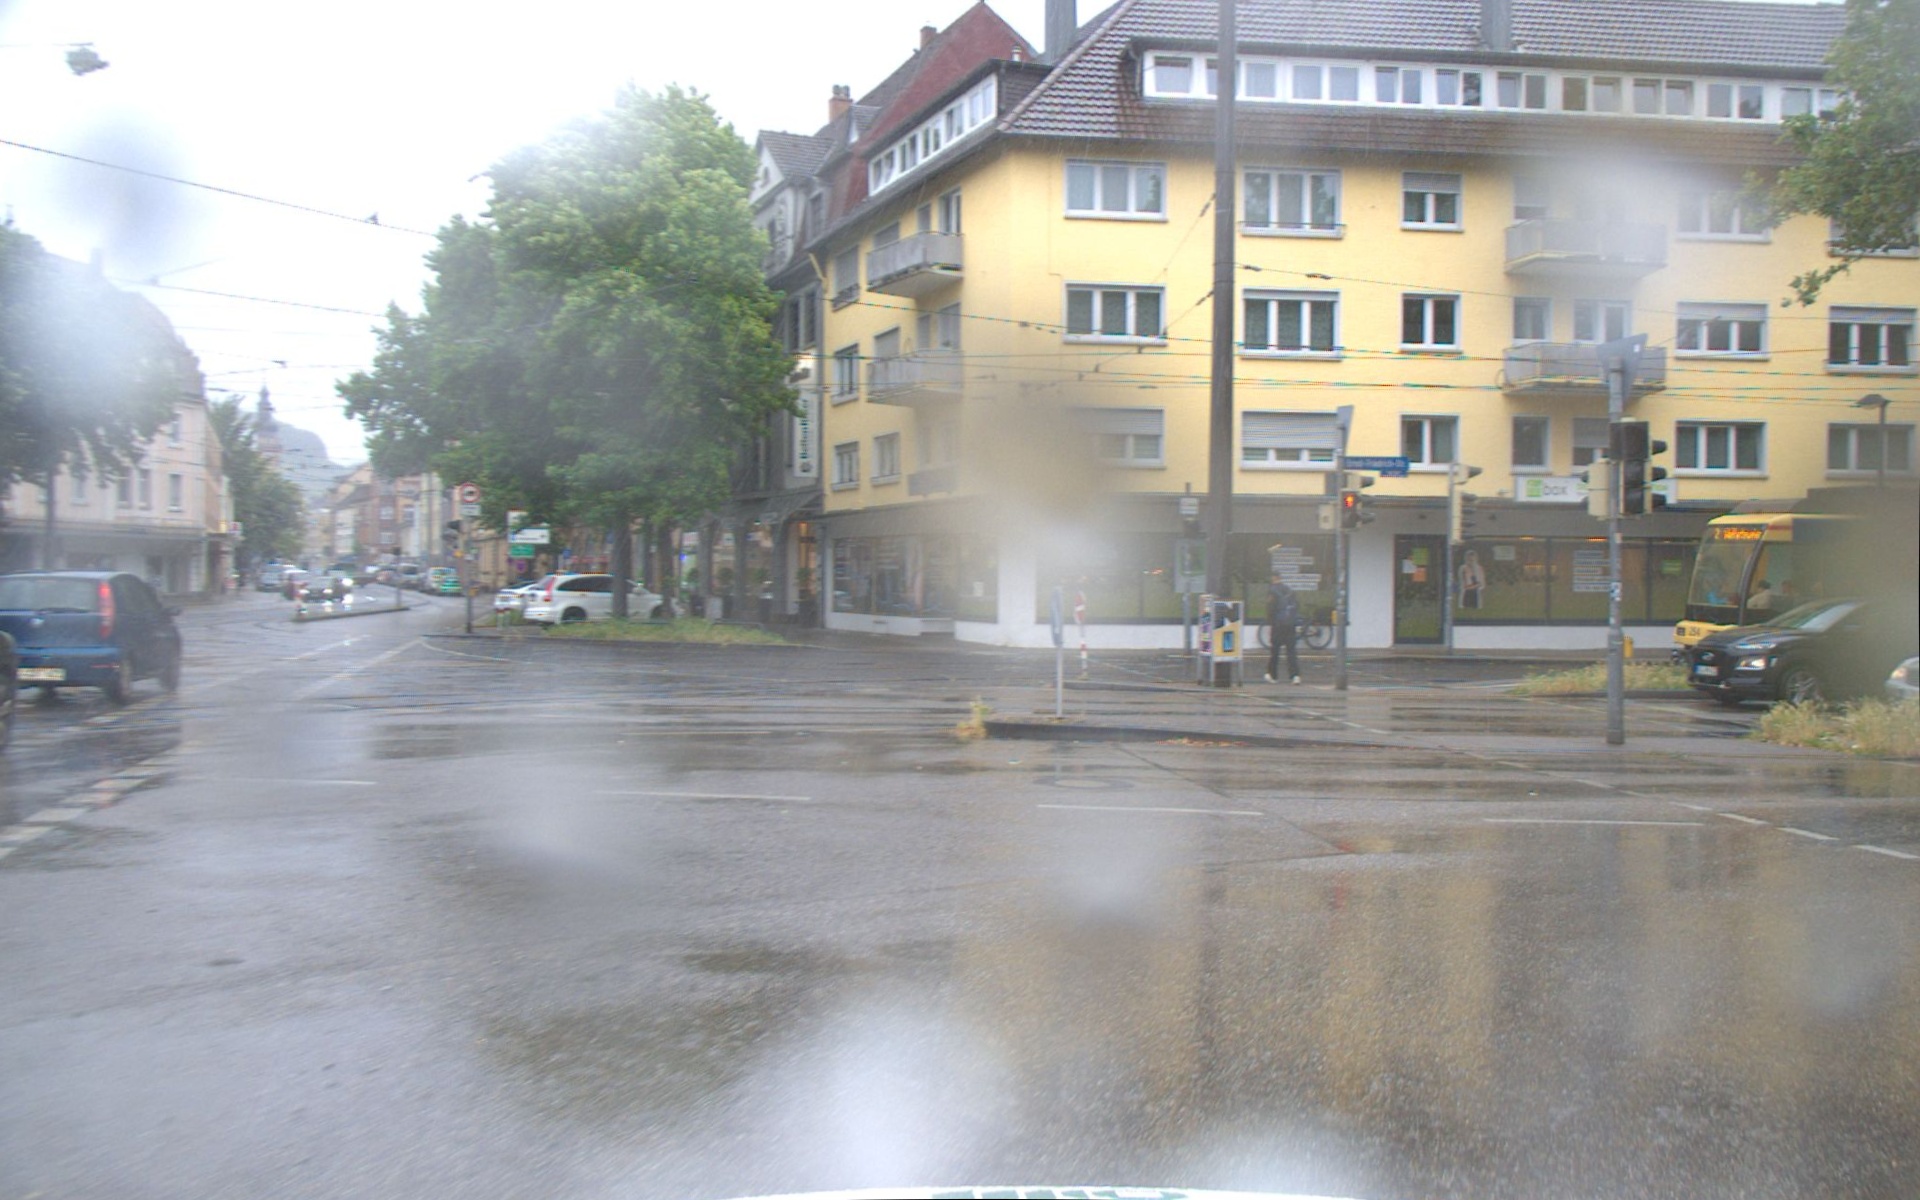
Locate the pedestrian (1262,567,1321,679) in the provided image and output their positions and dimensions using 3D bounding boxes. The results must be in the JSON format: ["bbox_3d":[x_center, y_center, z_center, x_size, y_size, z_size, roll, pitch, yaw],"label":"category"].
[{"bbox_3d":[5.196,0.354,25.966,0.795,1.707,1.017,1,0,6],"label":"pedestrian"}]

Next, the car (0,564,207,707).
[{"bbox_3d":[-10.150,0.446,19.281,1.851,1.485,3.815,1,-2,-15],"label":"car"}]

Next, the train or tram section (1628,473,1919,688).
[{"bbox_3d":[19.965,-0.220,30.644,14.249,3.620,3.112,1,0,-6],"label":"train or tram section"}]

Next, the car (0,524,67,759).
[{"bbox_3d":[-7.803,0.295,11.352,1.770,1.739,4.179,2,1,-12],"label":"car"}]

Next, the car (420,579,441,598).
[{"bbox_3d":[-42.683,-0.899,133.260,1.453,1.386,3.442,2,-1,-19],"label":"car"}]

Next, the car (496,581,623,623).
[{"bbox_3d":[-15.775,0.072,65.290,4.484,1.584,2.001,0,1,3],"label":"car"}]

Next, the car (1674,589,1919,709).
[{"bbox_3d":[12.220,0.637,22.628,4.194,1.528,1.875,0,1,-11],"label":"car"}]

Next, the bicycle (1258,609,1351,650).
[{"bbox_3d":[7.922,0.678,38.074,2.000,0.912,0.613,1,0,-6],"label":"bicycle"}]

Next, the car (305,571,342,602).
[{"bbox_3d":[-37.839,-0.801,98.369,1.965,1.718,3.975,2,-1,-21],"label":"car"}]

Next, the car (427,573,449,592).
[{"bbox_3d":[-40.247,-1.325,127.438,1.453,1.386,3.442,2,-1,-19],"label":"car"}]

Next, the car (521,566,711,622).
[{"bbox_3d":[-9.672,-0.203,46.530,4.917,1.499,1.982,-1,1,-29],"label":"car"}]

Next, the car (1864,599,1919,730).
[{"bbox_3d":[13.419,0.776,19.767,4.400,1.515,1.738,0,1,-7],"label":"car"}]
